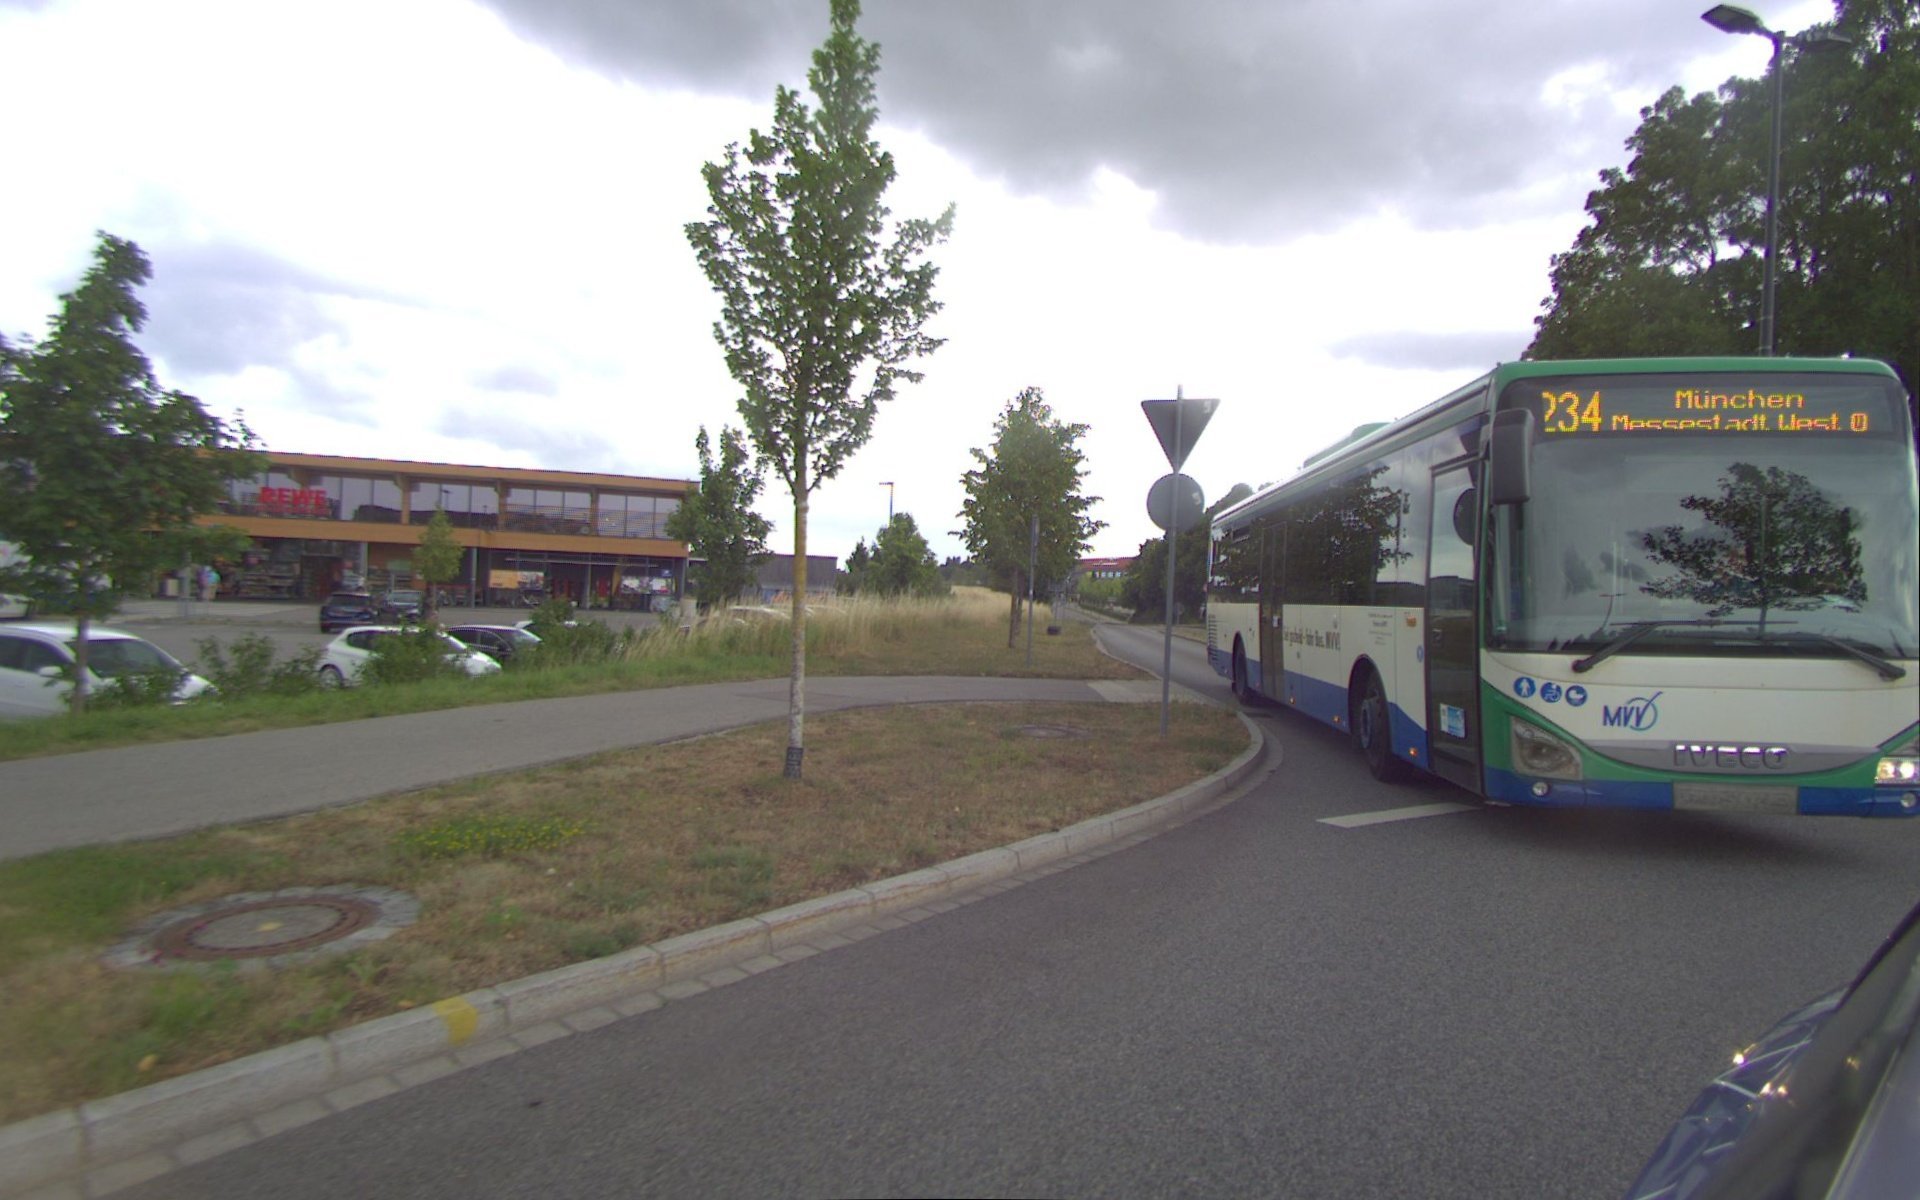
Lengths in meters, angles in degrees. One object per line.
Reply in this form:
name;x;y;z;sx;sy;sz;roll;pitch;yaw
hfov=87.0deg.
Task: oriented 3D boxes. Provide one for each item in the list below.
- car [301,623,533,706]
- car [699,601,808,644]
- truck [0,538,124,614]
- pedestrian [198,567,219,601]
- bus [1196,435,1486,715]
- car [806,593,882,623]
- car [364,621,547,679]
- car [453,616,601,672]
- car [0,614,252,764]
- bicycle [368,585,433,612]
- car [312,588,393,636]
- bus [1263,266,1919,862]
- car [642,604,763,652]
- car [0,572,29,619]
car;-11.494;1.334;21.615;3.928;1.527;1.998;1;1;4
car;-8.039;0.856;39.429;3.836;1.482;1.689;2;1;16
truck;-37.803;-0.981;39.656;7.104;2.842;2.983;1;1;-20
pedestrian;-37.060;-0.792;49.914;0.736;1.678;0.806;1;1;-33
bus;5.218;-0.320;14.935;2.480;3.299;5.454;-2;0;5
car;-6.423;0.426;56.223;3.925;1.462;1.884;2;1;2
car;-12.270;1.209;24.774;3.607;1.311;1.715;1;-2;1
car;-11.811;1.171;27.647;3.621;1.310;1.410;1;1;14
car;-13.451;1.260;15.459;4.376;1.693;1.795;4;2;12
bicycle;-29.323;-0.085;53.096;2.809;1.325;0.982;1;1;-16
car;-22.070;0.385;36.884;1.679;1.588;3.678;1;1;-17
bus;4.727;-0.221;8.967;2.480;3.299;6.541;-2;0;5
car;-9.101;0.966;35.801;3.836;1.482;1.689;2;1;16
car;-33.265;-0.143;33.870;1.695;1.549;4.009;1;1;-20
